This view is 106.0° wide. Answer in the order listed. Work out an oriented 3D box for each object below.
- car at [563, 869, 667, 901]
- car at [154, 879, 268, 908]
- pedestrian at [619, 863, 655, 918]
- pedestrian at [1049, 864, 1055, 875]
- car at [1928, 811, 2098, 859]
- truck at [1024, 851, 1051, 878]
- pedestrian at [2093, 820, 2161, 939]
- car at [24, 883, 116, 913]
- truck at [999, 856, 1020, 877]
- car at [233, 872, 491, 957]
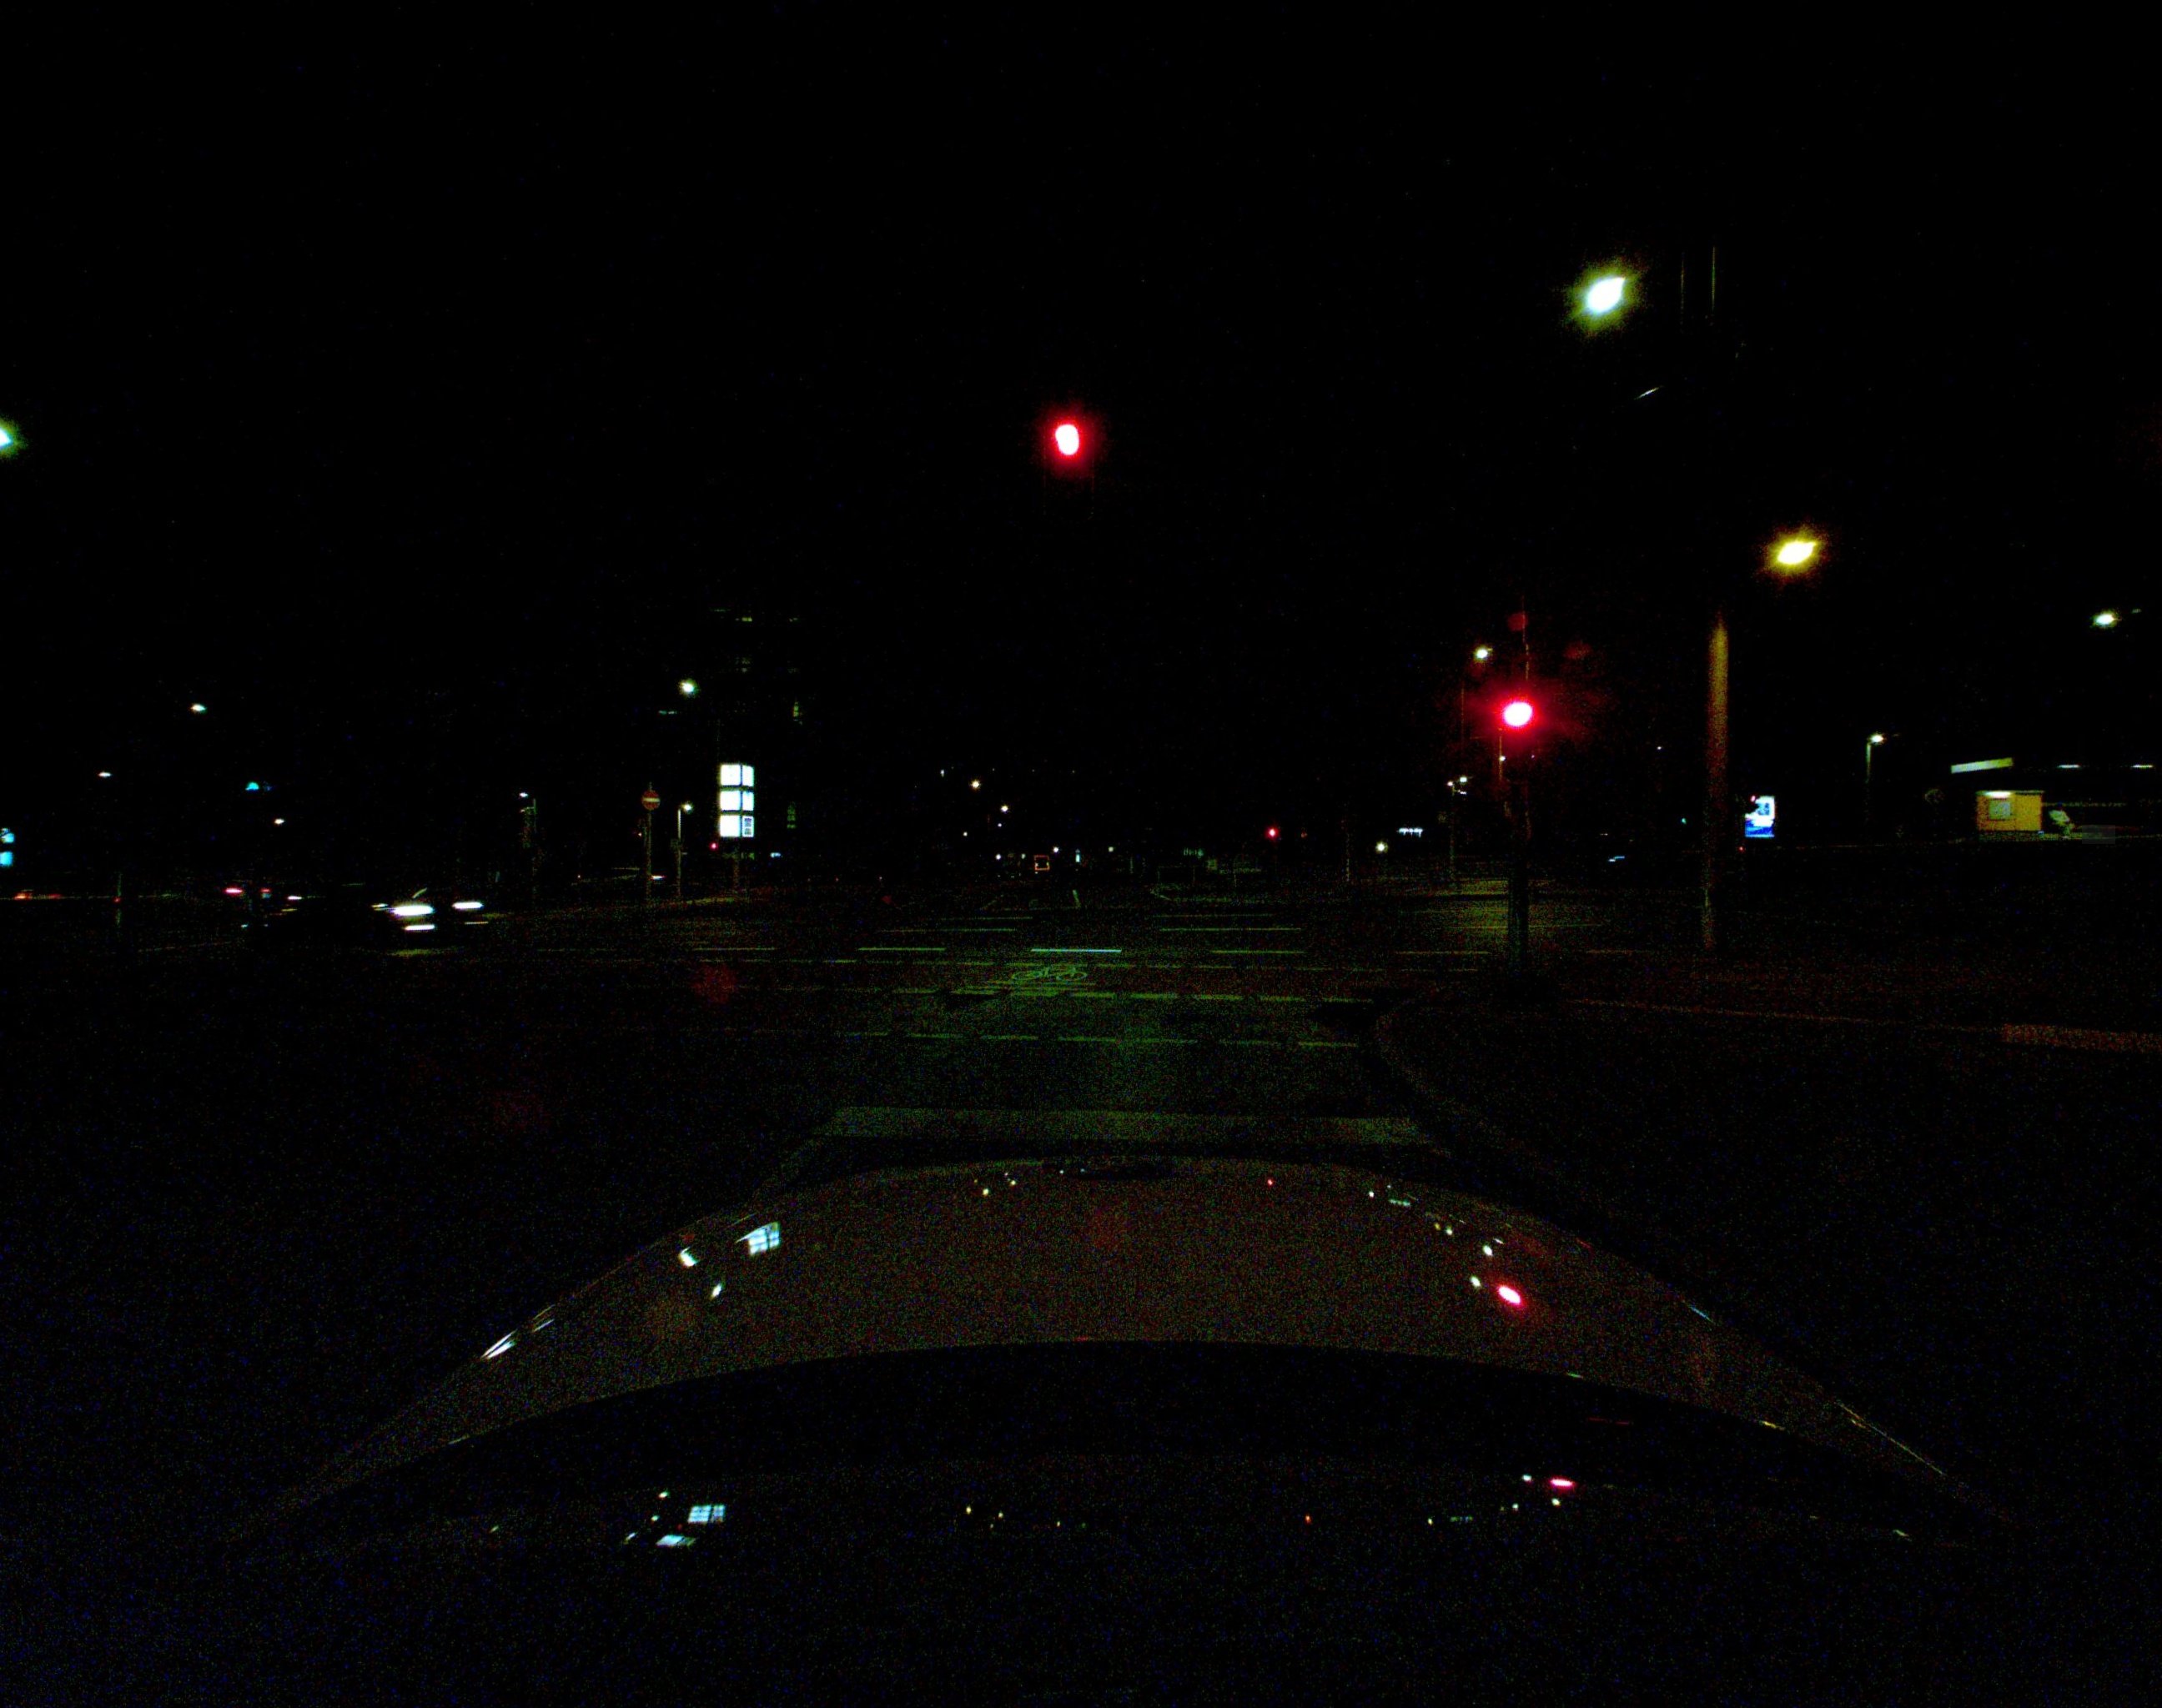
[{"bbox_3d":[-24.535,1.597,43.006,4.377,1.644,1.944,0,-1,5],"label":"car"},{"bbox_3d":[-47.517,2.126,44.529,4.553,1.486,1.781,0,0,5],"label":"car"},{"bbox_3d":[-14.000,1.139,25.659,0.671,1.722,0.710,-1,-2,25],"label":"pedestrian"},{"bbox_3d":[-5.209,2.842,147.734,0.851,1.912,1.001,0,-1,-16],"label":"pedestrian"},{"bbox_3d":[38.940,-0.788,34.117,4.757,1.844,1.845,-1,0,5],"label":"car"},{"bbox_3d":[-7.991,1.923,149.255,3.366,4.843,7.865,0,-1,-14],"label":"truck"},{"bbox_3d":[15.424,0.350,11.676,0.870,1.656,0.843,-7,-5,42],"label":"pedestrian"},{"bbox_3d":[-62.159,2.707,50.091,3.798,1.631,1.816,-2,0,8],"label":"car"},{"bbox_3d":[-10.554,1.851,120.165,2.419,3.089,6.412,0,-1,-11],"label":"truck"},{"bbox_3d":[-14.910,1.226,17.030,3.861,1.473,1.660,-2,2,2],"label":"car"}]
